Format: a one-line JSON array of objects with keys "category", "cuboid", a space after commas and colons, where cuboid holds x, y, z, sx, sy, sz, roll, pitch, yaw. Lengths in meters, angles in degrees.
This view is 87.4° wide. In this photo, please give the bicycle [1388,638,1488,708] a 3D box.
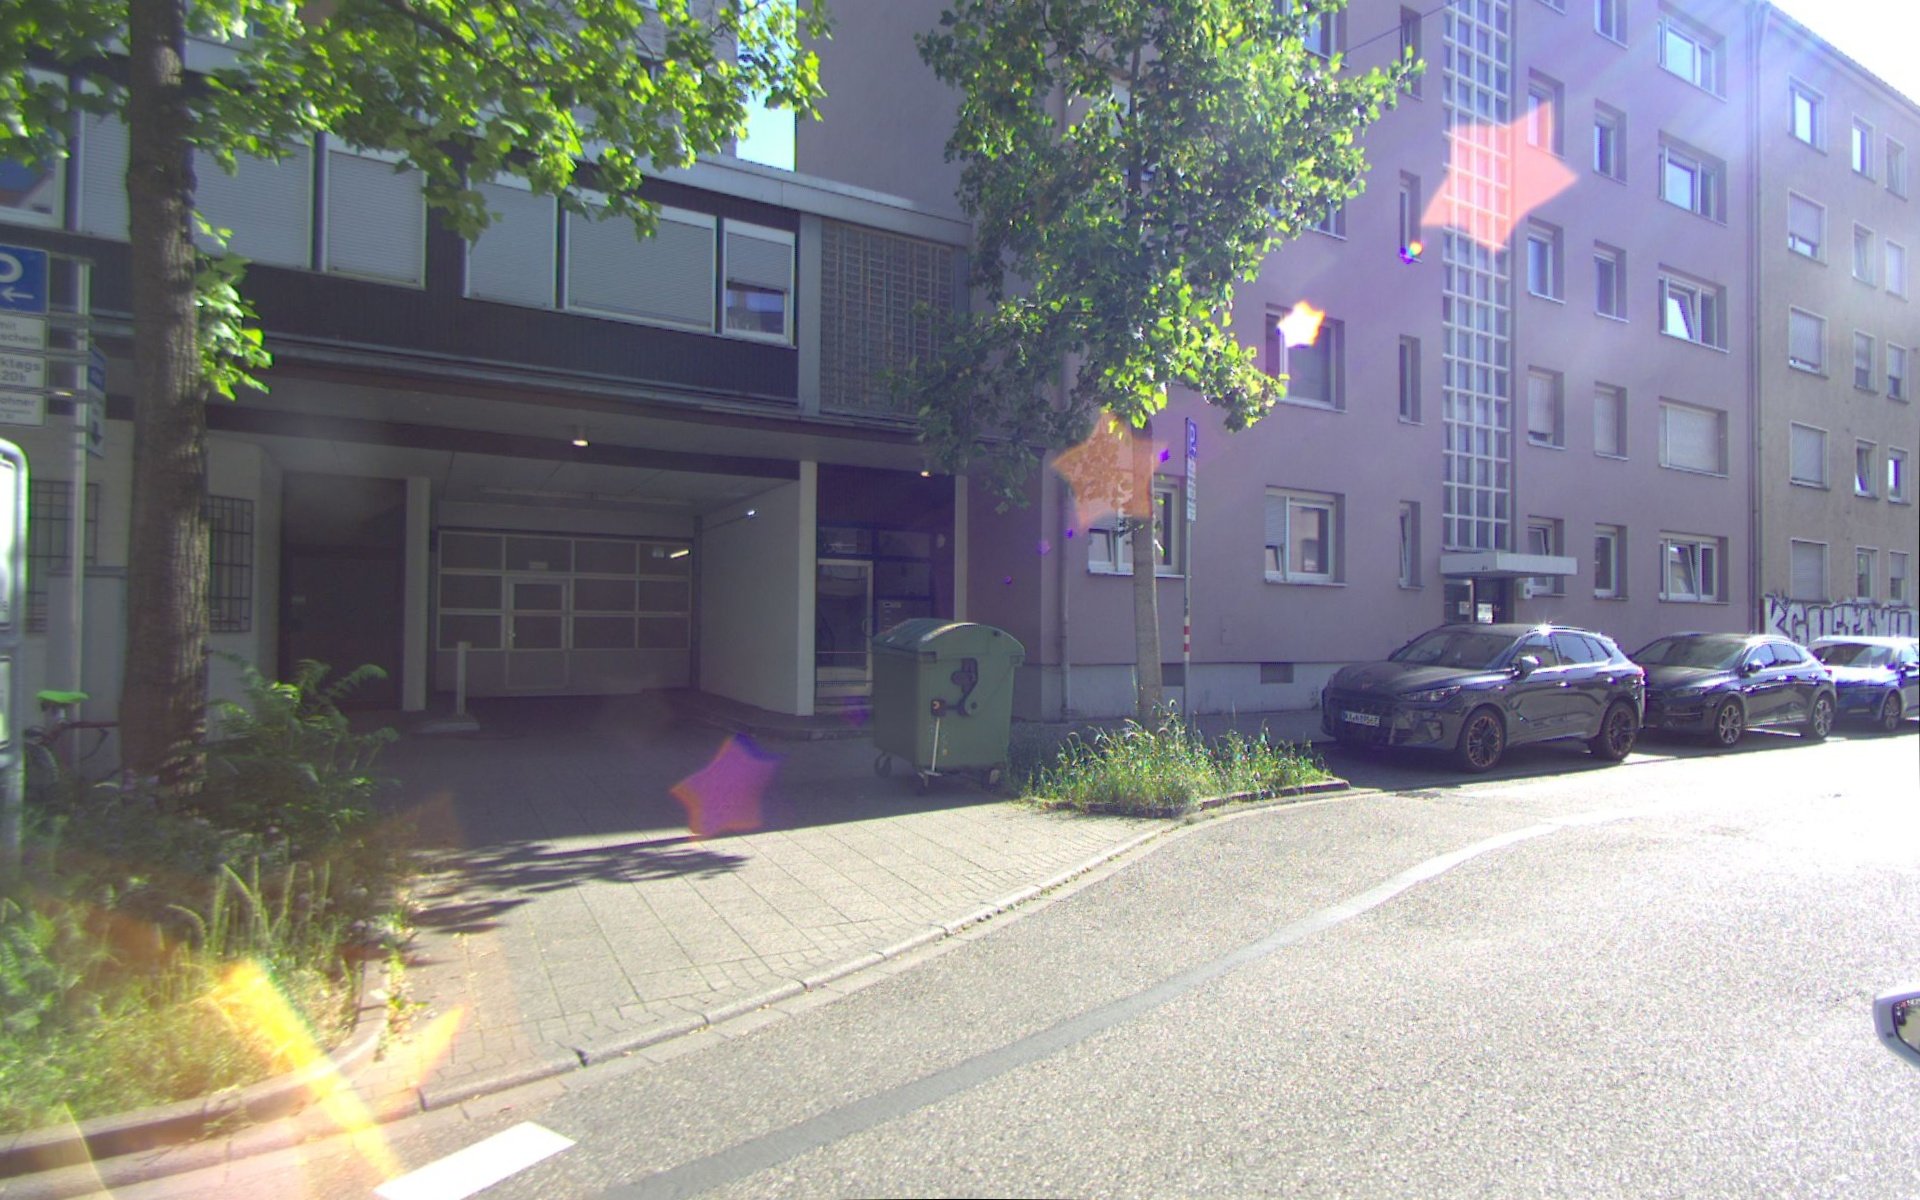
[{"category": "bicycle", "cuboid": [8.012, 1.202, 16.819, 1.880, 1.116, 0.552, 1, -2, -30]}]

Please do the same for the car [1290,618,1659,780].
[{"category": "car", "cuboid": [6.278, 1.080, 12.189, 4.310, 1.627, 1.869, 1, 0, -28]}]

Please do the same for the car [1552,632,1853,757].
[{"category": "car", "cuboid": [11.091, 1.308, 14.993, 4.175, 1.517, 1.985, 1, 1, -28]}]

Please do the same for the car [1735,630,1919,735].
[{"category": "car", "cuboid": [15.514, 1.339, 17.370, 4.571, 1.517, 1.712, 1, 1, -30]}]

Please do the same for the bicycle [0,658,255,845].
[{"category": "bicycle", "cuboid": [-5.381, 0.930, 6.472, 1.329, 1.092, 0.463, 2, -2, -33]}]

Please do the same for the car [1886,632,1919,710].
[{"category": "car", "cuboid": [20.959, 1.463, 20.459, 4.704, 1.489, 1.768, 1, 1, -31]}]

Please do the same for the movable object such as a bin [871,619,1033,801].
[{"category": "movable object such as a bin", "cuboid": [-0.100, 0.912, 8.895, 1.060, 1.469, 1.228, 1, -2, -22]}]
